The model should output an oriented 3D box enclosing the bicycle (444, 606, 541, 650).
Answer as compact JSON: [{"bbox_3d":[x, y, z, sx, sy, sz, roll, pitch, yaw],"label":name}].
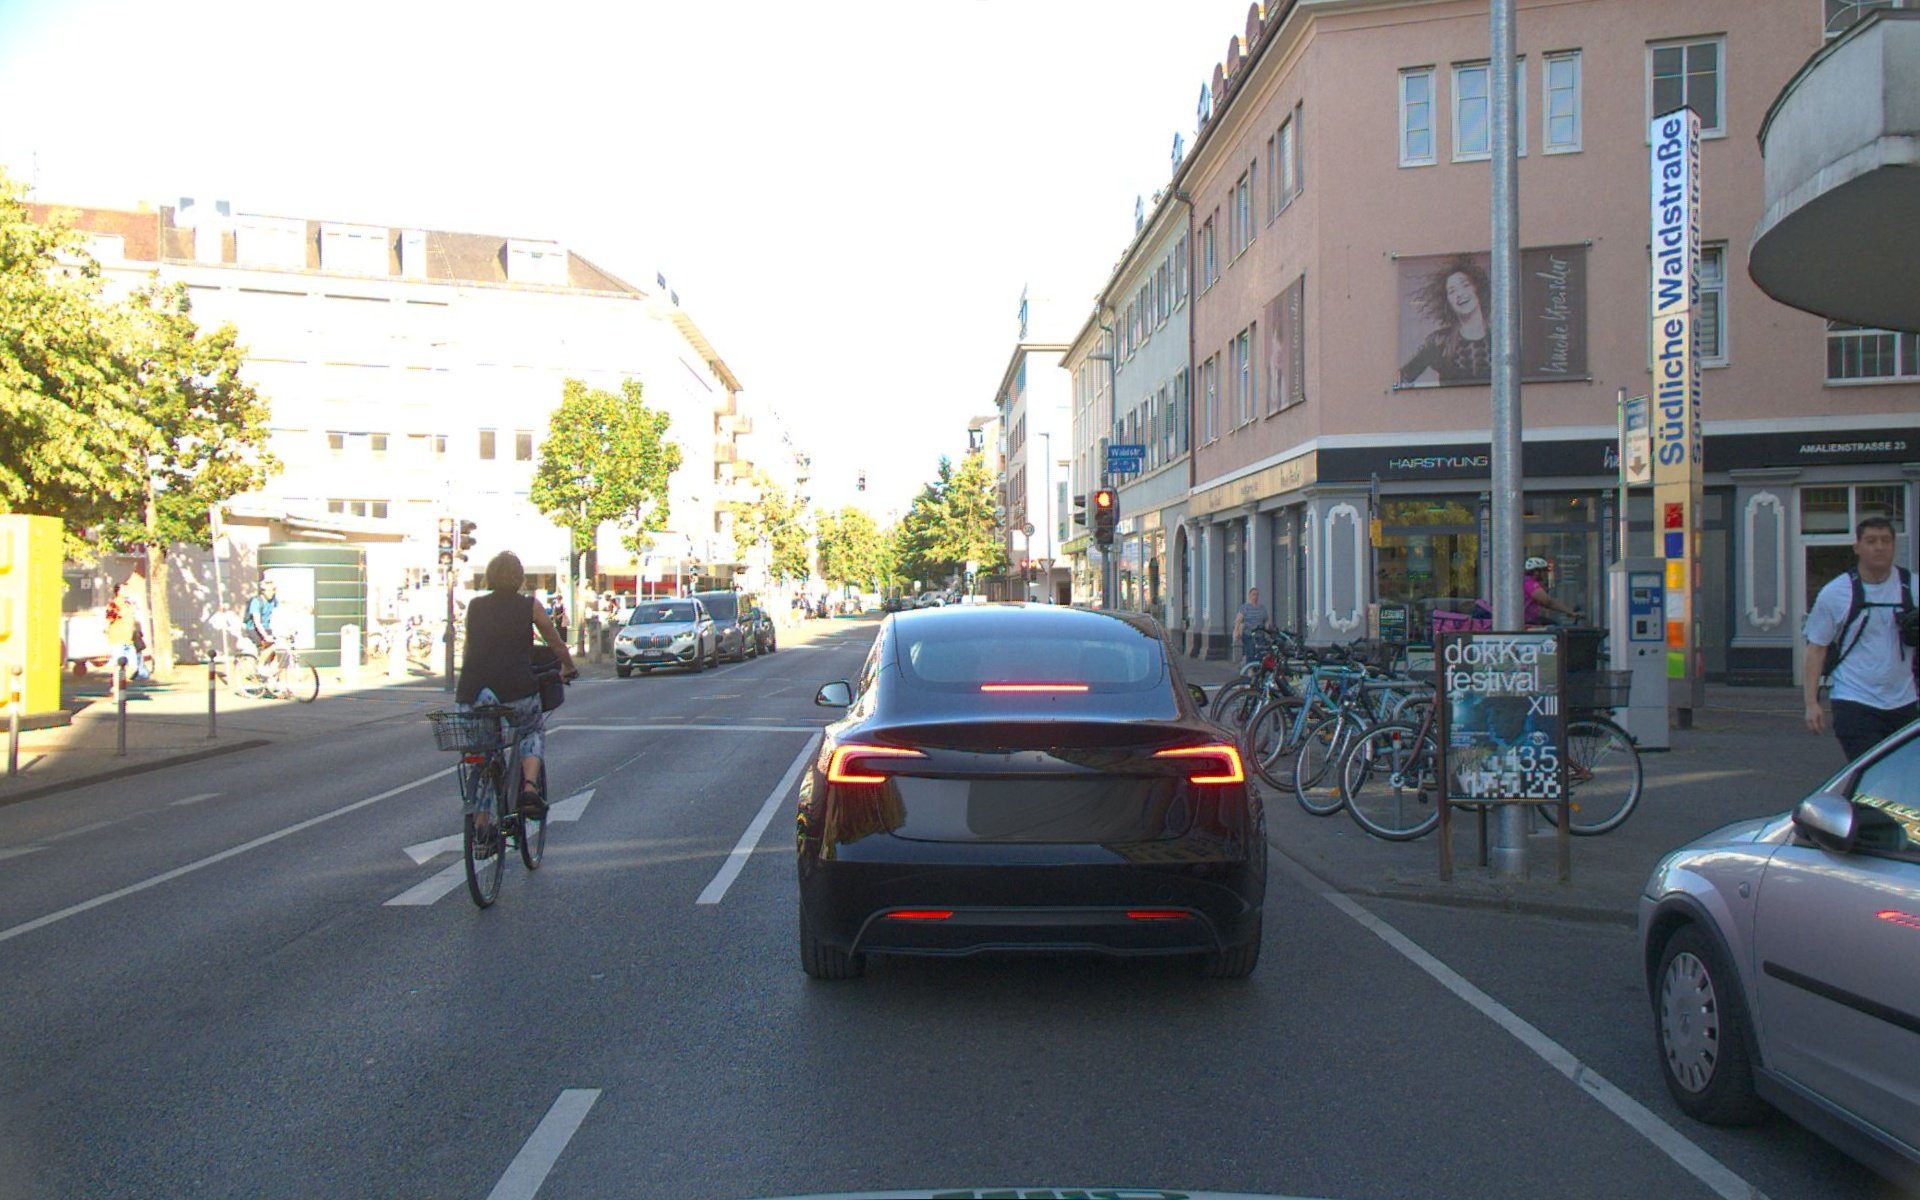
[{"bbox_3d":[-14.009,0.838,49.614,2.609,1.281,0.942,1,0,-4],"label":"bicycle"}]

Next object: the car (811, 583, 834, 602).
[{"bbox_3d":[-15.602,-0.830,188.033,2.228,2.049,4.717,1,0,0],"label":"car"}]

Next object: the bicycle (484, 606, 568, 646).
[{"bbox_3d":[-14.227,0.849,54.310,2.491,1.273,0.942,1,0,-4],"label":"bicycle"}]

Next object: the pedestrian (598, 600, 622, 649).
[{"bbox_3d":[-13.153,0.920,62.156,0.830,1.790,0.704,1,-1,-15],"label":"pedestrian"}]

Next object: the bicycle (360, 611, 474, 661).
[{"bbox_3d":[-13.949,0.918,42.557,2.607,1.216,0.942,1,0,-4],"label":"bicycle"}]

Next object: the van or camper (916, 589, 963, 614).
[{"bbox_3d":[-2.068,0.160,167.491,4.752,2.481,1.850,0,0,-1],"label":"van or camper"}]

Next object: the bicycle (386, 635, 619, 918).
[{"bbox_3d":[-2.295,0.828,8.557,0.615,1.244,2.001,1,0,0],"label":"bicycle"}]

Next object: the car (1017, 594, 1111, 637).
[{"bbox_3d":[4.713,0.695,74.712,3.937,1.900,1.686,0,0,-22],"label":"car"}]

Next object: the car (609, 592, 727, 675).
[{"bbox_3d":[-6.322,0.704,36.208,1.788,1.592,4.299,-3,0,-1],"label":"car"}]

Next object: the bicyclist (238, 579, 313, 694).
[{"bbox_3d":[-10.640,0.555,25.711,0.791,1.739,0.702,1,-1,26],"label":"bicyclist"}]

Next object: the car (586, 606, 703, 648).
[{"bbox_3d":[-14.710,1.226,77.121,5.124,1.899,1.871,0,0,-23],"label":"car"}]

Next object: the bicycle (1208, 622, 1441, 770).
[{"bbox_3d":[2.979,0.778,13.610,1.776,1.172,0.653,0,0,0],"label":"bicycle"}]

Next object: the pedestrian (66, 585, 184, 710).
[{"bbox_3d":[-12.061,0.673,23.927,1.086,1.750,1.062,1,0,4],"label":"pedestrian"}]

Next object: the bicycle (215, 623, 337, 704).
[{"bbox_3d":[-10.654,0.970,25.760,1.912,1.183,0.617,1,0,25],"label":"bicycle"}]

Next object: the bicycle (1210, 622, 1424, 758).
[{"bbox_3d":[3.163,0.786,14.748,1.776,1.172,0.653,0,0,0],"label":"bicycle"}]

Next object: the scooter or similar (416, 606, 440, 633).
[{"bbox_3d":[-19.809,0.719,61.611,0.774,0.974,0.462,1,-1,-14],"label":"scooter or similar"}]

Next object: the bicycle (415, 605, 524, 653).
[{"bbox_3d":[-13.999,0.823,47.295,2.818,1.292,0.942,1,0,-4],"label":"bicycle"}]

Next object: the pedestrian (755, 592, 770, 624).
[{"bbox_3d":[-11.552,0.470,96.720,0.721,1.900,0.787,1,-1,-17],"label":"pedestrian"}]

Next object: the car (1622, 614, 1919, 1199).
[{"bbox_3d":[2.922,0.776,3.508,1.551,1.451,3.579,1,0,-1],"label":"car"}]

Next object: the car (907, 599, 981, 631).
[{"bbox_3d":[-0.916,0.835,94.614,3.933,1.819,2.031,0,0,41],"label":"car"}]

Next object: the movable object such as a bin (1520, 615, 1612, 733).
[{"bbox_3d":[6.044,0.727,16.523,0.623,1.122,0.728,-2,0,3],"label":"movable object such as a bin"}]

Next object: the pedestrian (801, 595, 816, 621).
[{"bbox_3d":[-10.827,0.573,118.545,0.689,1.900,0.898,1,-1,-37],"label":"pedestrian"}]

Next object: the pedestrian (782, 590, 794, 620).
[{"bbox_3d":[-10.766,0.303,103.685,0.681,1.900,0.658,1,-1,-6],"label":"pedestrian"}]

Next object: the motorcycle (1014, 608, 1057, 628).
[{"bbox_3d":[4.012,0.947,88.175,2.361,1.054,0.773,1,-1,-38],"label":"motorcycle"}]

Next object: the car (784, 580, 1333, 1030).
[{"bbox_3d":[0.300,0.694,7.743,1.812,1.472,4.450,1,0,-1],"label":"car"}]

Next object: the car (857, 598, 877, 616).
[{"bbox_3d":[-10.502,0.817,186.937,2.089,2.004,4.133,0,0,-1],"label":"car"}]

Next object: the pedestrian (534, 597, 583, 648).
[{"bbox_3d":[-13.040,0.724,53.711,1.069,1.639,1.267,1,0,12],"label":"pedestrian"}]

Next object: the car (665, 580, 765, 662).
[{"bbox_3d":[-6.230,0.499,42.536,1.906,1.981,4.819,0,0,-1],"label":"car"}]

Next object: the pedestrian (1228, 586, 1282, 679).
[{"bbox_3d":[5.073,0.555,28.459,0.773,1.576,0.724,1,-1,0],"label":"pedestrian"}]

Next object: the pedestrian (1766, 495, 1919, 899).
[{"bbox_3d":[4.573,0.452,8.092,0.792,1.855,0.983,1,0,2],"label":"pedestrian"}]

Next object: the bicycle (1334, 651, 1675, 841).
[{"bbox_3d":[3.280,0.870,10.062,1.844,1.062,0.653,-1,0,0],"label":"bicycle"}]

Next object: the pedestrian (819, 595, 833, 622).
[{"bbox_3d":[-9.369,0.587,115.655,0.762,1.900,1.004,1,-1,-18],"label":"pedestrian"}]

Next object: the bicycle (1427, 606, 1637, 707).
[{"bbox_3d":[7.093,0.702,20.600,2.339,1.171,0.713,-2,-1,6],"label":"bicycle"}]

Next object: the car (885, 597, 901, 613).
[{"bbox_3d":[-7.643,0.576,188.710,1.854,1.845,3.923,1,0,-2],"label":"car"}]

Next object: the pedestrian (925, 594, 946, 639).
[{"bbox_3d":[-0.983,0.665,66.372,0.649,1.790,0.649,1,-1,-24],"label":"pedestrian"}]

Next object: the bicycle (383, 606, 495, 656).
[{"bbox_3d":[-14.123,0.836,44.894,2.725,1.296,0.932,1,0,-4],"label":"bicycle"}]

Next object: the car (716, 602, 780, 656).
[{"bbox_3d":[-6.335,0.847,49.662,1.431,1.455,3.605,-3,0,-1],"label":"car"}]

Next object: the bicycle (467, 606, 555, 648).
[{"bbox_3d":[-14.061,0.842,51.888,2.491,1.273,0.942,1,0,-4],"label":"bicycle"}]

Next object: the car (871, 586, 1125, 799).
[{"bbox_3d":[0.244,0.680,14.167,1.812,1.507,4.450,1,0,-1],"label":"car"}]

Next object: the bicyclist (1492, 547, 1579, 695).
[{"bbox_3d":[7.159,0.264,20.599,0.845,1.786,0.681,-2,-1,7],"label":"bicyclist"}]

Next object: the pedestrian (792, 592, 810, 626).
[{"bbox_3d":[-9.086,0.504,94.494,0.719,1.900,0.790,1,-1,28],"label":"pedestrian"}]

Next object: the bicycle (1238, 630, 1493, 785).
[{"bbox_3d":[3.050,0.799,12.538,1.776,1.121,0.653,0,0,0],"label":"bicycle"}]

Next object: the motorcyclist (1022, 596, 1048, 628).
[{"bbox_3d":[4.004,0.650,88.178,1.102,1.662,0.765,1,-1,-38],"label":"motorcyclist"}]

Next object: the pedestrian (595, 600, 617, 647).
[{"bbox_3d":[-13.435,0.890,62.760,0.650,1.790,0.648,1,-1,-27],"label":"pedestrian"}]

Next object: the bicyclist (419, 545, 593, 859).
[{"bbox_3d":[-2.300,0.495,8.473,0.594,1.510,0.958,1,0,0],"label":"bicyclist"}]

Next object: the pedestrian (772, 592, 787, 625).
[{"bbox_3d":[-10.585,0.488,96.927,0.721,1.900,0.787,1,-1,-17],"label":"pedestrian"}]

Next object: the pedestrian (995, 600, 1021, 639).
[{"bbox_3d":[2.002,0.811,69.229,0.800,1.637,0.700,1,-1,-38],"label":"pedestrian"}]

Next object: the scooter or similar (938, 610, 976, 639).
[{"bbox_3d":[-0.107,0.995,66.863,1.317,1.154,0.803,1,-1,-25],"label":"scooter or similar"}]

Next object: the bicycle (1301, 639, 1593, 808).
[{"bbox_3d":[3.251,0.817,11.134,1.776,1.078,0.653,0,0,0],"label":"bicycle"}]

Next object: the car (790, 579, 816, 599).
[{"bbox_3d":[-17.018,-1.142,179.377,2.228,2.049,4.717,1,0,0],"label":"car"}]

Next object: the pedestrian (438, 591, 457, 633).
[{"bbox_3d":[-19.127,0.449,61.777,0.613,1.550,0.577,1,-1,-14],"label":"pedestrian"}]

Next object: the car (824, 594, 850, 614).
[{"bbox_3d":[-12.345,0.383,166.233,2.365,2.004,4.677,0,0,-1],"label":"car"}]
